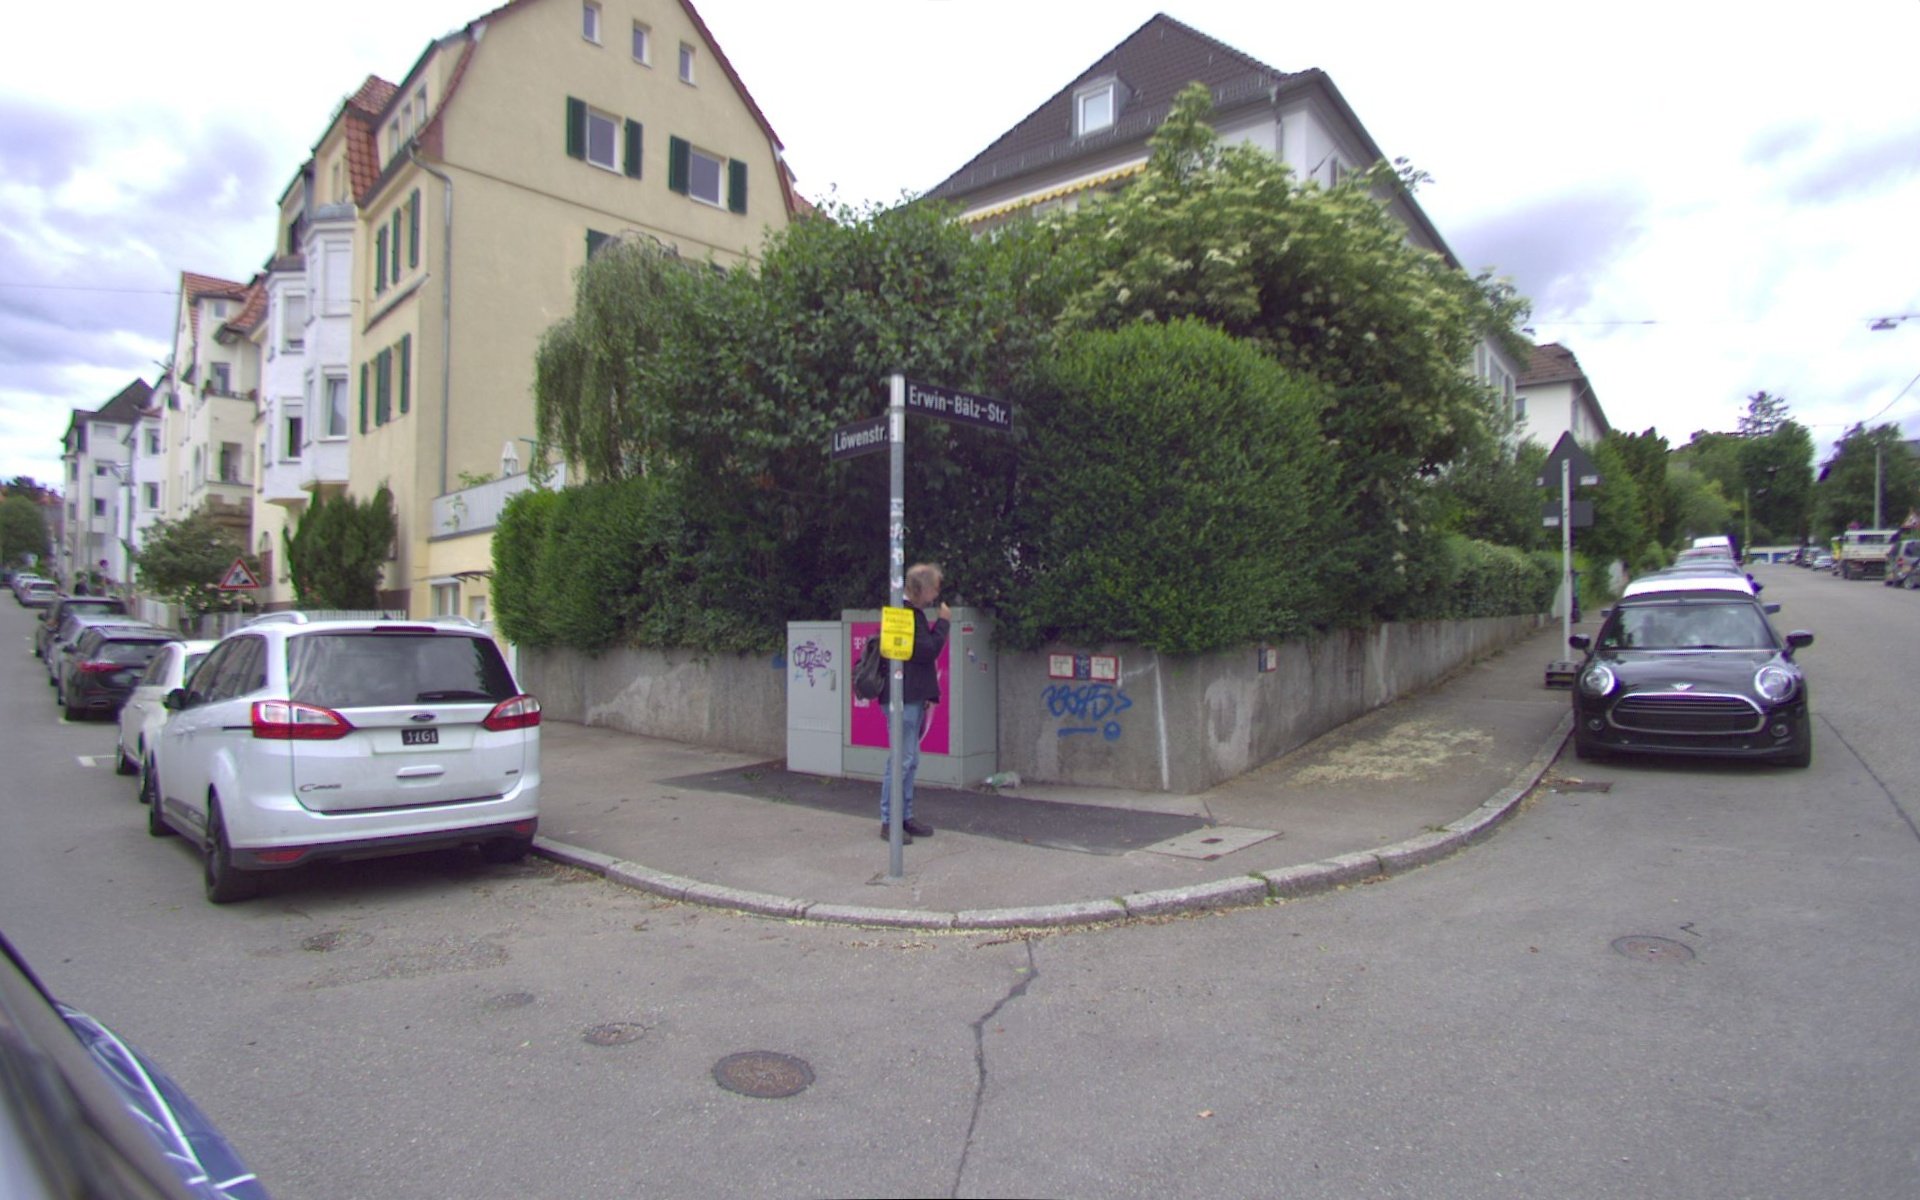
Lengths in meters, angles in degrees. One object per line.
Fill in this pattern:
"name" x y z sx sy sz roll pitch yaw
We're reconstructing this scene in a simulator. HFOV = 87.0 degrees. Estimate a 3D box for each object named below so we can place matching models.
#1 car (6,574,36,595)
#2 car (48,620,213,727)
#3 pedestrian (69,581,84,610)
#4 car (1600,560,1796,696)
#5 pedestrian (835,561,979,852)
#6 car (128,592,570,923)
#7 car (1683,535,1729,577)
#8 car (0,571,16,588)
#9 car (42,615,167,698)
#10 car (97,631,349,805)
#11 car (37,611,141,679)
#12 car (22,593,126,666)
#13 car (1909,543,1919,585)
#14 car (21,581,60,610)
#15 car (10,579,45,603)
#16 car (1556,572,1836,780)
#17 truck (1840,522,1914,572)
"car" -77.324 -1.259 83.349 1.757 1.578 4.005 2 0 -43
"car" -14.085 1.140 17.088 1.781 1.491 4.332 2 -1 -44
"pedestrian" -50.610 -0.251 57.974 0.608 1.669 0.813 0 0 -43
"car" 10.250 0.274 14.168 1.884 1.494 4.678 -2 2 36
"pedestrian" -0.321 0.664 6.560 0.812 1.773 0.643 -2 -1 4
"car" -4.560 0.883 7.254 1.783 1.672 4.154 2 -3 -44
"car" 45.717 -2.711 62.106 1.970 2.417 4.643 -2 1 33
"car" -96.656 -2.113 102.307 1.757 1.578 4.005 1 1 -43
"car" -17.676 1.110 20.843 1.619 1.439 4.126 4 -2 -44
"car" -7.884 1.116 10.701 1.588 1.464 3.616 5 -4 -44
"car" -21.194 1.061 24.588 1.620 1.409 3.706 5 -2 -44
"car" -24.564 0.768 28.011 4.150 1.810 1.729 2 -1 44
"car" 35.581 -1.315 36.390 1.630 1.477 3.977 -1 2 36
"car" -54.689 -0.269 60.207 1.639 1.578 4.005 2 0 -43
"car" -66.029 -0.643 71.657 1.757 1.578 4.005 2 0 -43
"car" 7.008 0.572 9.704 1.784 1.534 3.674 -3 0 37
"truck" 46.555 -2.700 51.482 2.427 2.375 4.840 0 2 39
